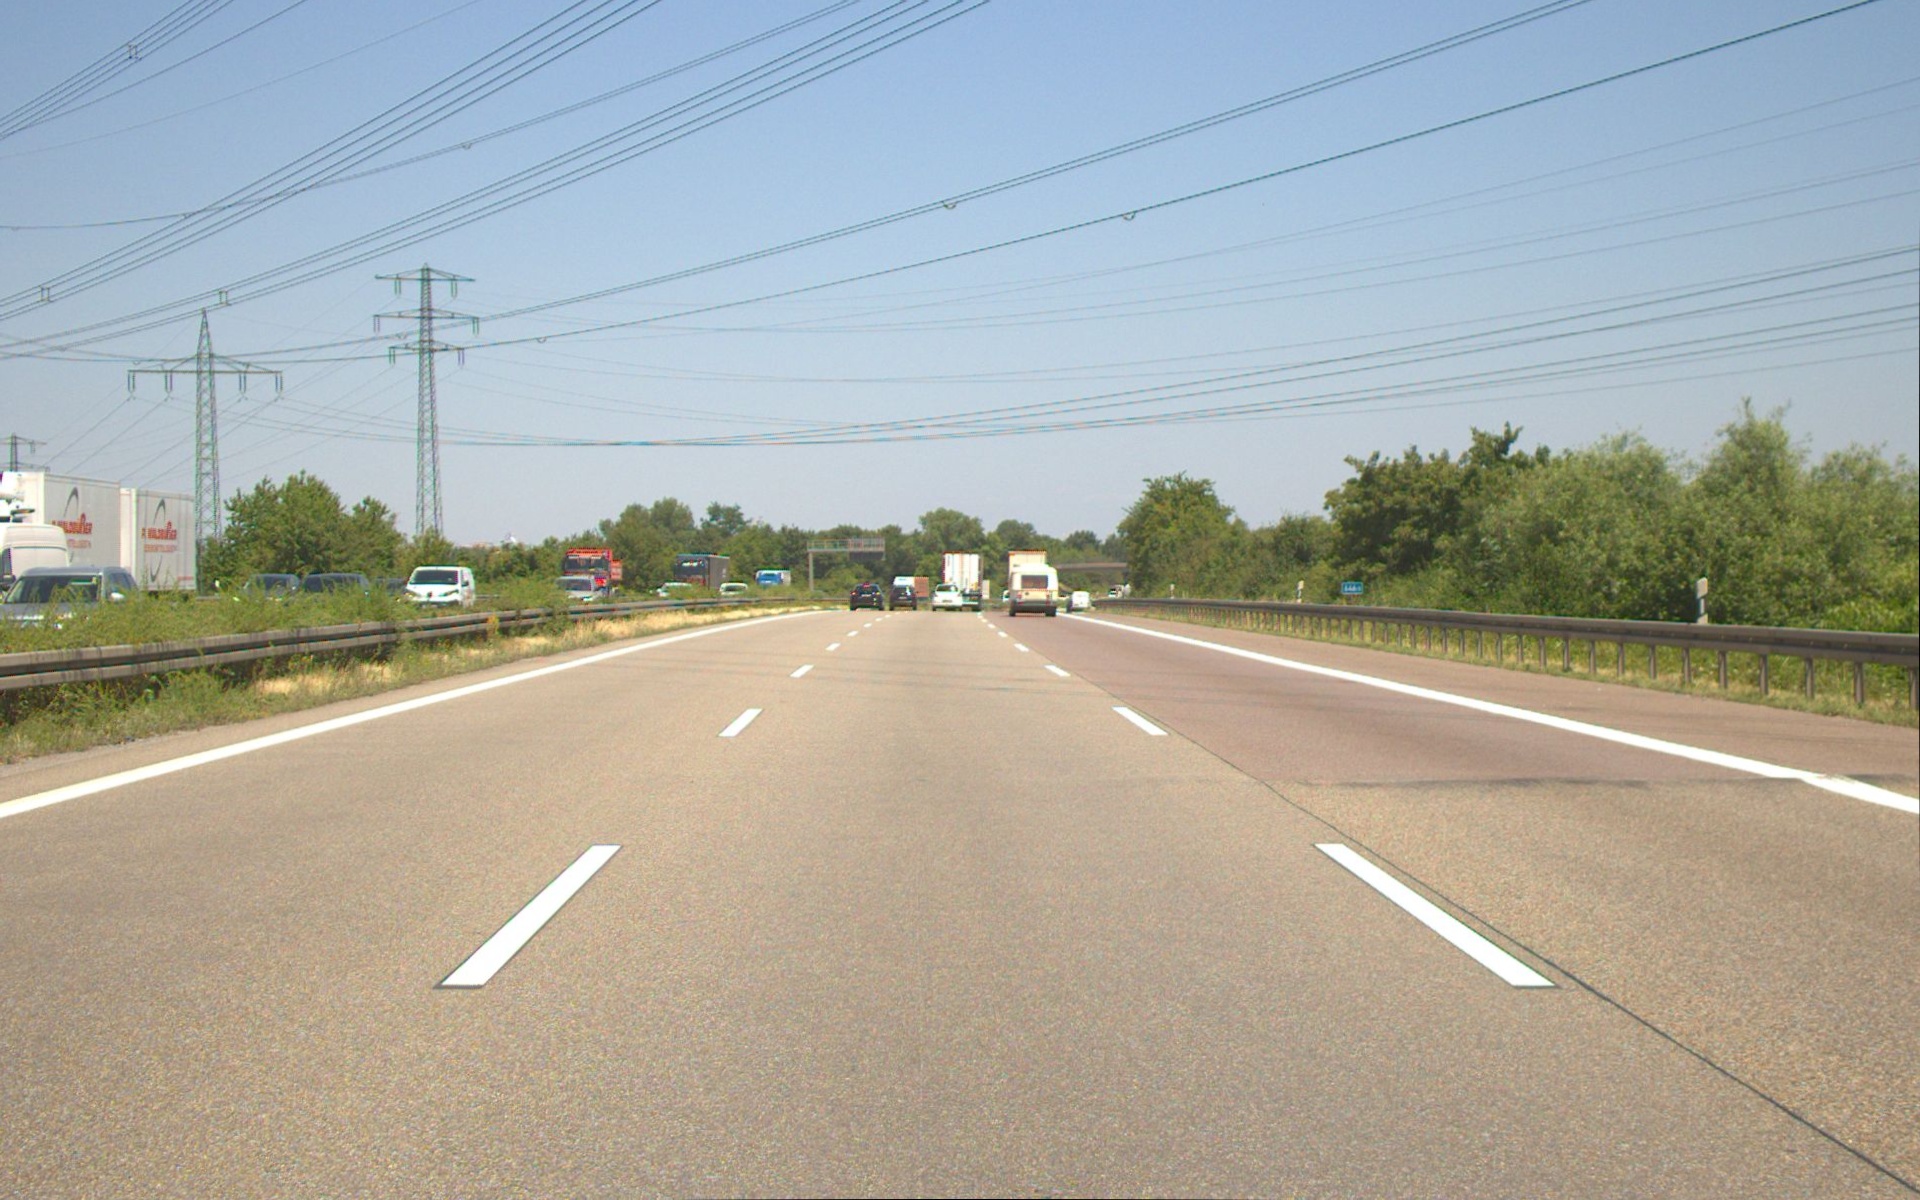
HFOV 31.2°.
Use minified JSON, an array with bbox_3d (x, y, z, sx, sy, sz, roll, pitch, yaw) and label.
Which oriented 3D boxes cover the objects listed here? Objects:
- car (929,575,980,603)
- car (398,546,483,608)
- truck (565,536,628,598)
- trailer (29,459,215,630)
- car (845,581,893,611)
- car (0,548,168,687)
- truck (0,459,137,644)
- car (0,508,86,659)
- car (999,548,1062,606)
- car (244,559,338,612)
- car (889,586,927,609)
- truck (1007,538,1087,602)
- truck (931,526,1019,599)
[{"bbox_3d":[-0.284,-0.611,192.771,1.829,1.542,4.316,2,1,14],"label":"car"},{"bbox_3d":[-17.585,-0.813,116.565,1.993,2.007,5.701,1,1,0],"label":"car"},{"bbox_3d":[-21.320,-1.981,201.868,2.770,3.515,8.533,1,1,0],"label":"truck"},{"bbox_3d":[-21.449,-1.443,88.445,2.841,4.150,8.328,1,1,-1],"label":"trailer"},{"bbox_3d":[-4.955,-0.237,187.742,1.828,1.542,4.317,2,0,9],"label":"car"},{"bbox_3d":[-14.008,0.222,53.196,2.482,2.007,4.558,1,1,-1],"label":"car"},{"bbox_3d":[-21.442,-1.149,78.918,2.692,3.936,10.594,1,1,-1],"label":"truck"},{"bbox_3d":[-17.623,-0.338,60.975,2.482,2.571,7.122,1,1,-1],"label":"car"},{"bbox_3d":[2.951,-0.981,144.216,2.442,2.313,5.322,-1,1,-1],"label":"car"},{"bbox_3d":[-21.268,-0.473,109.466,1.993,1.580,5.067,1,1,0],"label":"car"},{"bbox_3d":[-3.611,-0.177,238.853,1.828,1.542,4.317,2,0,9],"label":"car"},{"bbox_3d":[6.198,-2.183,242.464,3.182,4.290,16.010,1,1,10],"label":"truck"},{"bbox_3d":[1.154,-2.705,246.466,3.668,5.001,16.011,1,1,10],"label":"truck"}]
